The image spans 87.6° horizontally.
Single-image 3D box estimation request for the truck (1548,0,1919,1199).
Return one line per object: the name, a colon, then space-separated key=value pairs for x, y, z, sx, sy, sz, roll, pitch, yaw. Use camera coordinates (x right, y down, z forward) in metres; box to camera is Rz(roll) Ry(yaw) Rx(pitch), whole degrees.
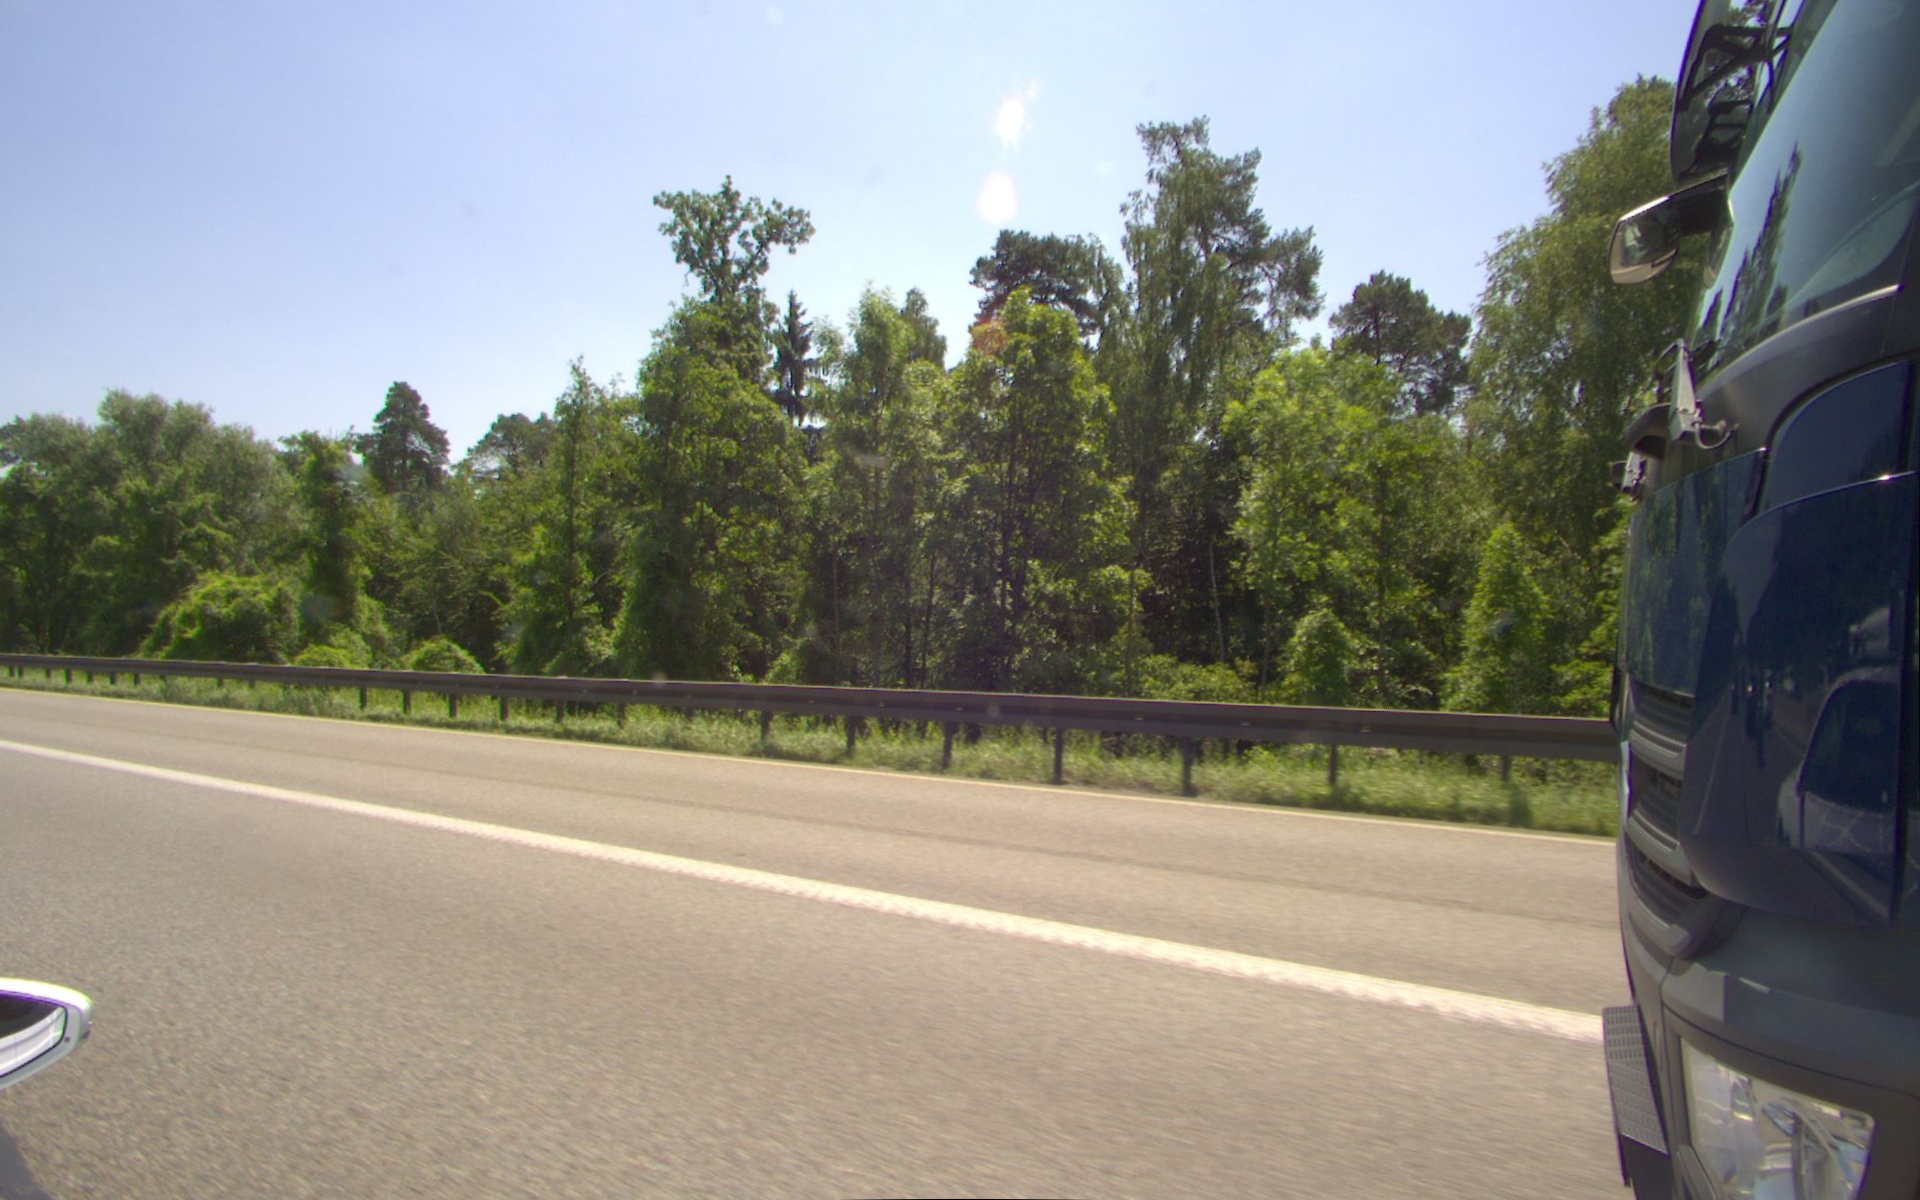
truck: x=3.093 y=0.020 z=1.153 sx=4.047 sy=2.978 sz=2.550 roll=-2 pitch=-1 yaw=33
